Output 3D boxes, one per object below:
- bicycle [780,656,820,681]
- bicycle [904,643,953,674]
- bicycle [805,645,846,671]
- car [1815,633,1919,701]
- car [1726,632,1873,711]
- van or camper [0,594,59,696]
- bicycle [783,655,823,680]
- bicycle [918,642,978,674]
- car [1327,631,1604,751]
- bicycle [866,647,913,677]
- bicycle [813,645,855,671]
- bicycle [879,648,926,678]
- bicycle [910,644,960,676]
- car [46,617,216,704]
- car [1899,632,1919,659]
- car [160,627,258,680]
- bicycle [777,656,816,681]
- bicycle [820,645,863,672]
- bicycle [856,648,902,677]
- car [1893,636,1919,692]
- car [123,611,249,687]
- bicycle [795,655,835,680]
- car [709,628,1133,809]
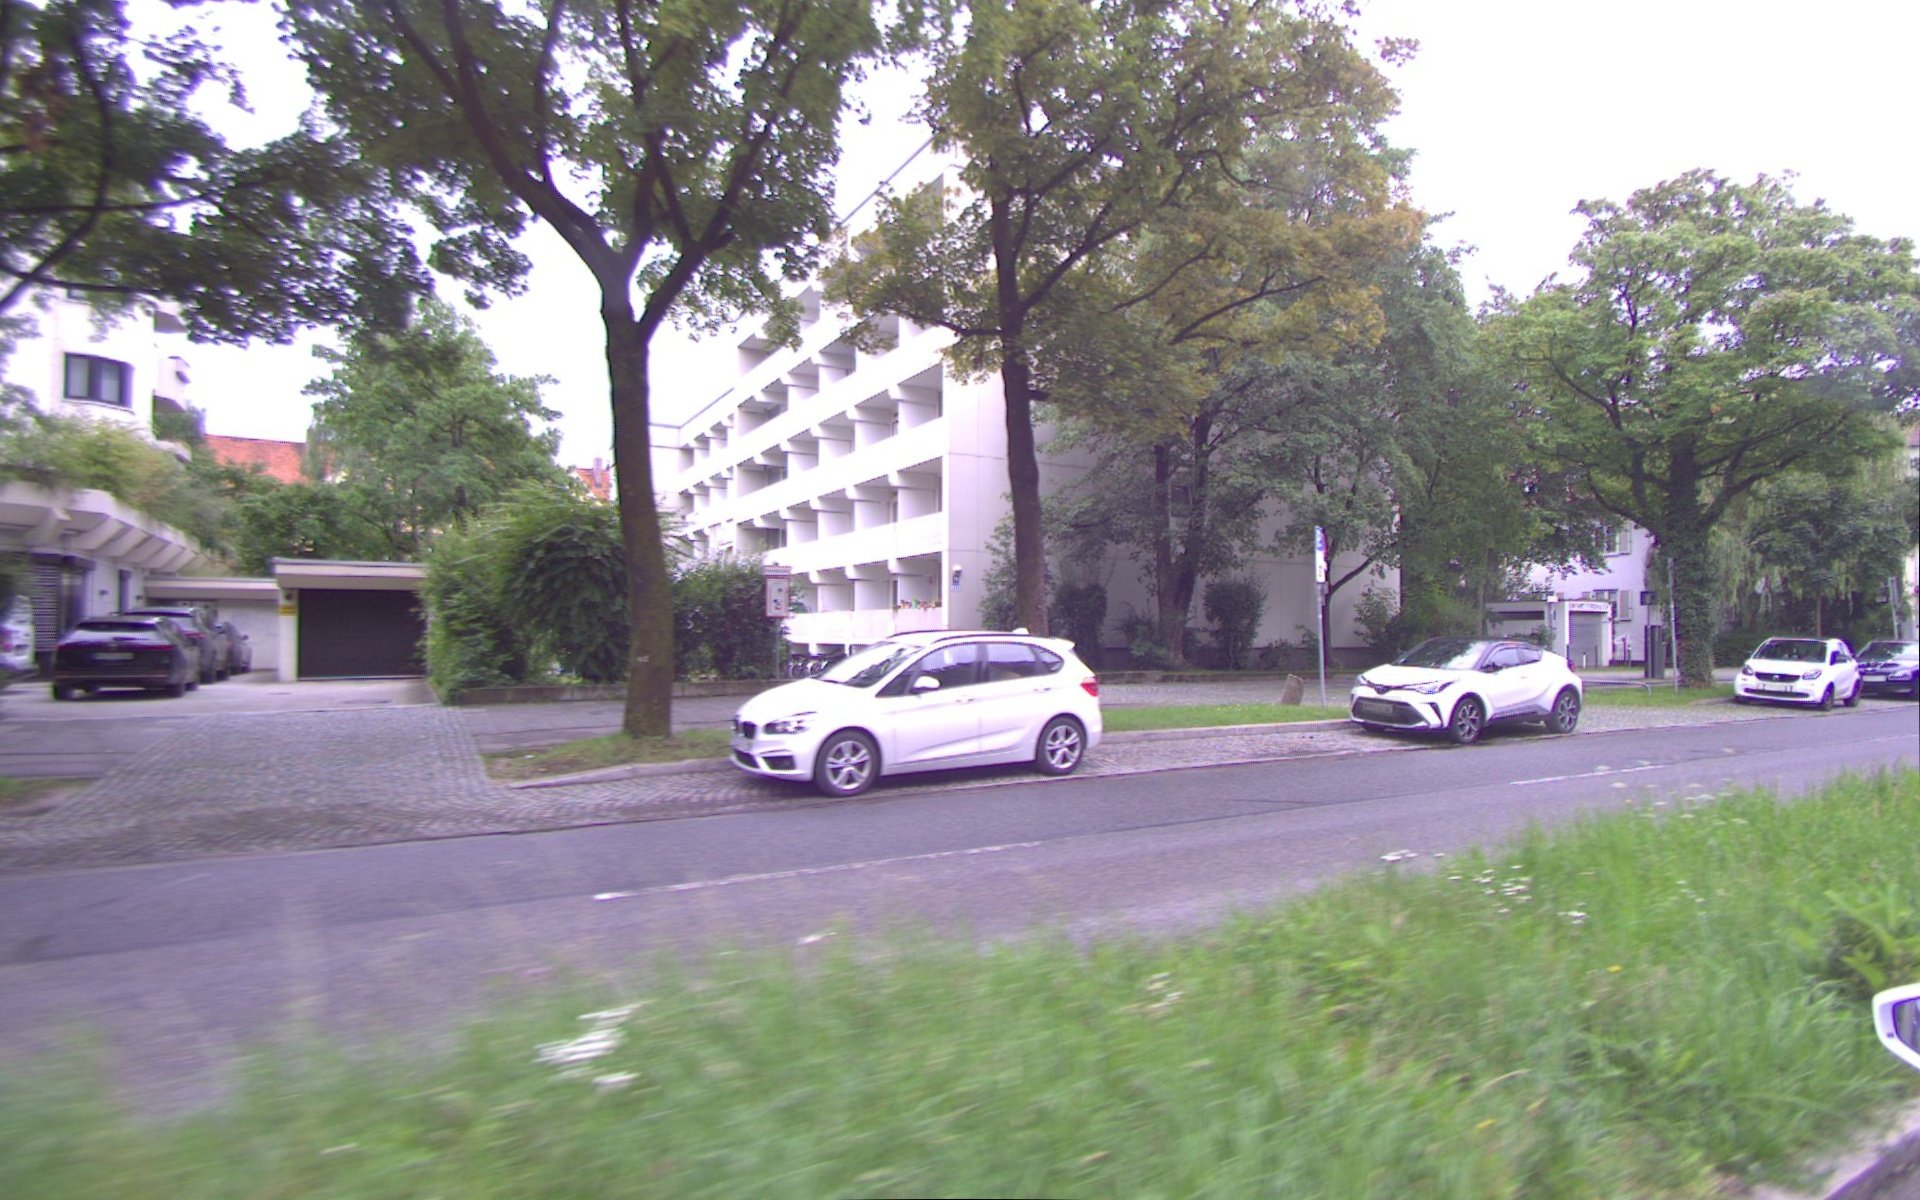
[{"bbox_3d":[-6.167,2.635,38.738,1.433,0.912,0.456,1,-2,-30],"label":"bicycle"},{"bbox_3d":[-0.932,1.745,30.004,1.433,0.912,0.456,1,-2,-30],"label":"bicycle"},{"bbox_3d":[-4.855,2.102,36.306,1.433,0.912,0.456,1,-2,-30],"label":"bicycle"},{"bbox_3d":[23.599,1.634,25.416,4.165,1.495,1.666,1,1,-30],"label":"car"},{"bbox_3d":[19.083,1.563,22.831,3.045,1.586,1.681,1,1,-32],"label":"car"},{"bbox_3d":[-19.883,0.825,18.617,4.378,1.896,1.848,1,-2,-30],"label":"van or camper"},{"bbox_3d":[-5.898,2.542,37.860,1.433,0.912,0.456,1,-2,-30],"label":"bicycle"},{"bbox_3d":[-0.331,1.667,29.073,1.745,0.912,0.475,1,-2,-31],"label":"bicycle"},{"bbox_3d":[8.177,1.347,16.159,4.437,1.631,1.824,1,0,-30],"label":"car"},{"bbox_3d":[-2.229,1.946,31.709,1.433,0.912,0.456,1,-2,-30],"label":"bicycle"},{"bbox_3d":[-4.497,2.065,35.794,1.433,0.912,0.456,1,-2,-30],"label":"bicycle"},{"bbox_3d":[-1.779,1.940,31.185,1.433,0.912,0.456,1,-2,-30],"label":"bicycle"},{"bbox_3d":[-0.728,1.744,29.554,1.433,0.912,0.456,1,-2,-30],"label":"bicycle"},{"bbox_3d":[-15.349,1.055,18.827,1.841,1.436,3.957,1,-2,-31],"label":"car"},{"bbox_3d":[54.536,2.507,55.464,1.653,1.481,3.614,1,-2,-32],"label":"car"},{"bbox_3d":[-20.324,1.403,27.325,1.617,1.319,3.959,1,-2,-29],"label":"car"},{"bbox_3d":[-6.399,2.668,39.250,1.433,0.912,0.456,1,-2,-30],"label":"bicycle"},{"bbox_3d":[-4.138,2.052,35.155,1.433,0.912,0.456,1,-2,-30],"label":"bicycle"},{"bbox_3d":[-2.613,2.009,32.342,1.433,0.912,0.456,1,-2,-30],"label":"bicycle"},{"bbox_3d":[27.910,1.786,27.931,4.268,1.462,1.667,1,1,-30],"label":"car"},{"bbox_3d":[-18.104,1.106,23.687,1.766,1.612,3.959,1,-2,-29],"label":"car"},{"bbox_3d":[-5.390,2.505,37.365,1.433,0.912,0.456,1,-2,-30],"label":"bicycle"},{"bbox_3d":[-0.349,1.151,11.205,4.438,1.616,1.748,1,0,-31],"label":"car"}]
